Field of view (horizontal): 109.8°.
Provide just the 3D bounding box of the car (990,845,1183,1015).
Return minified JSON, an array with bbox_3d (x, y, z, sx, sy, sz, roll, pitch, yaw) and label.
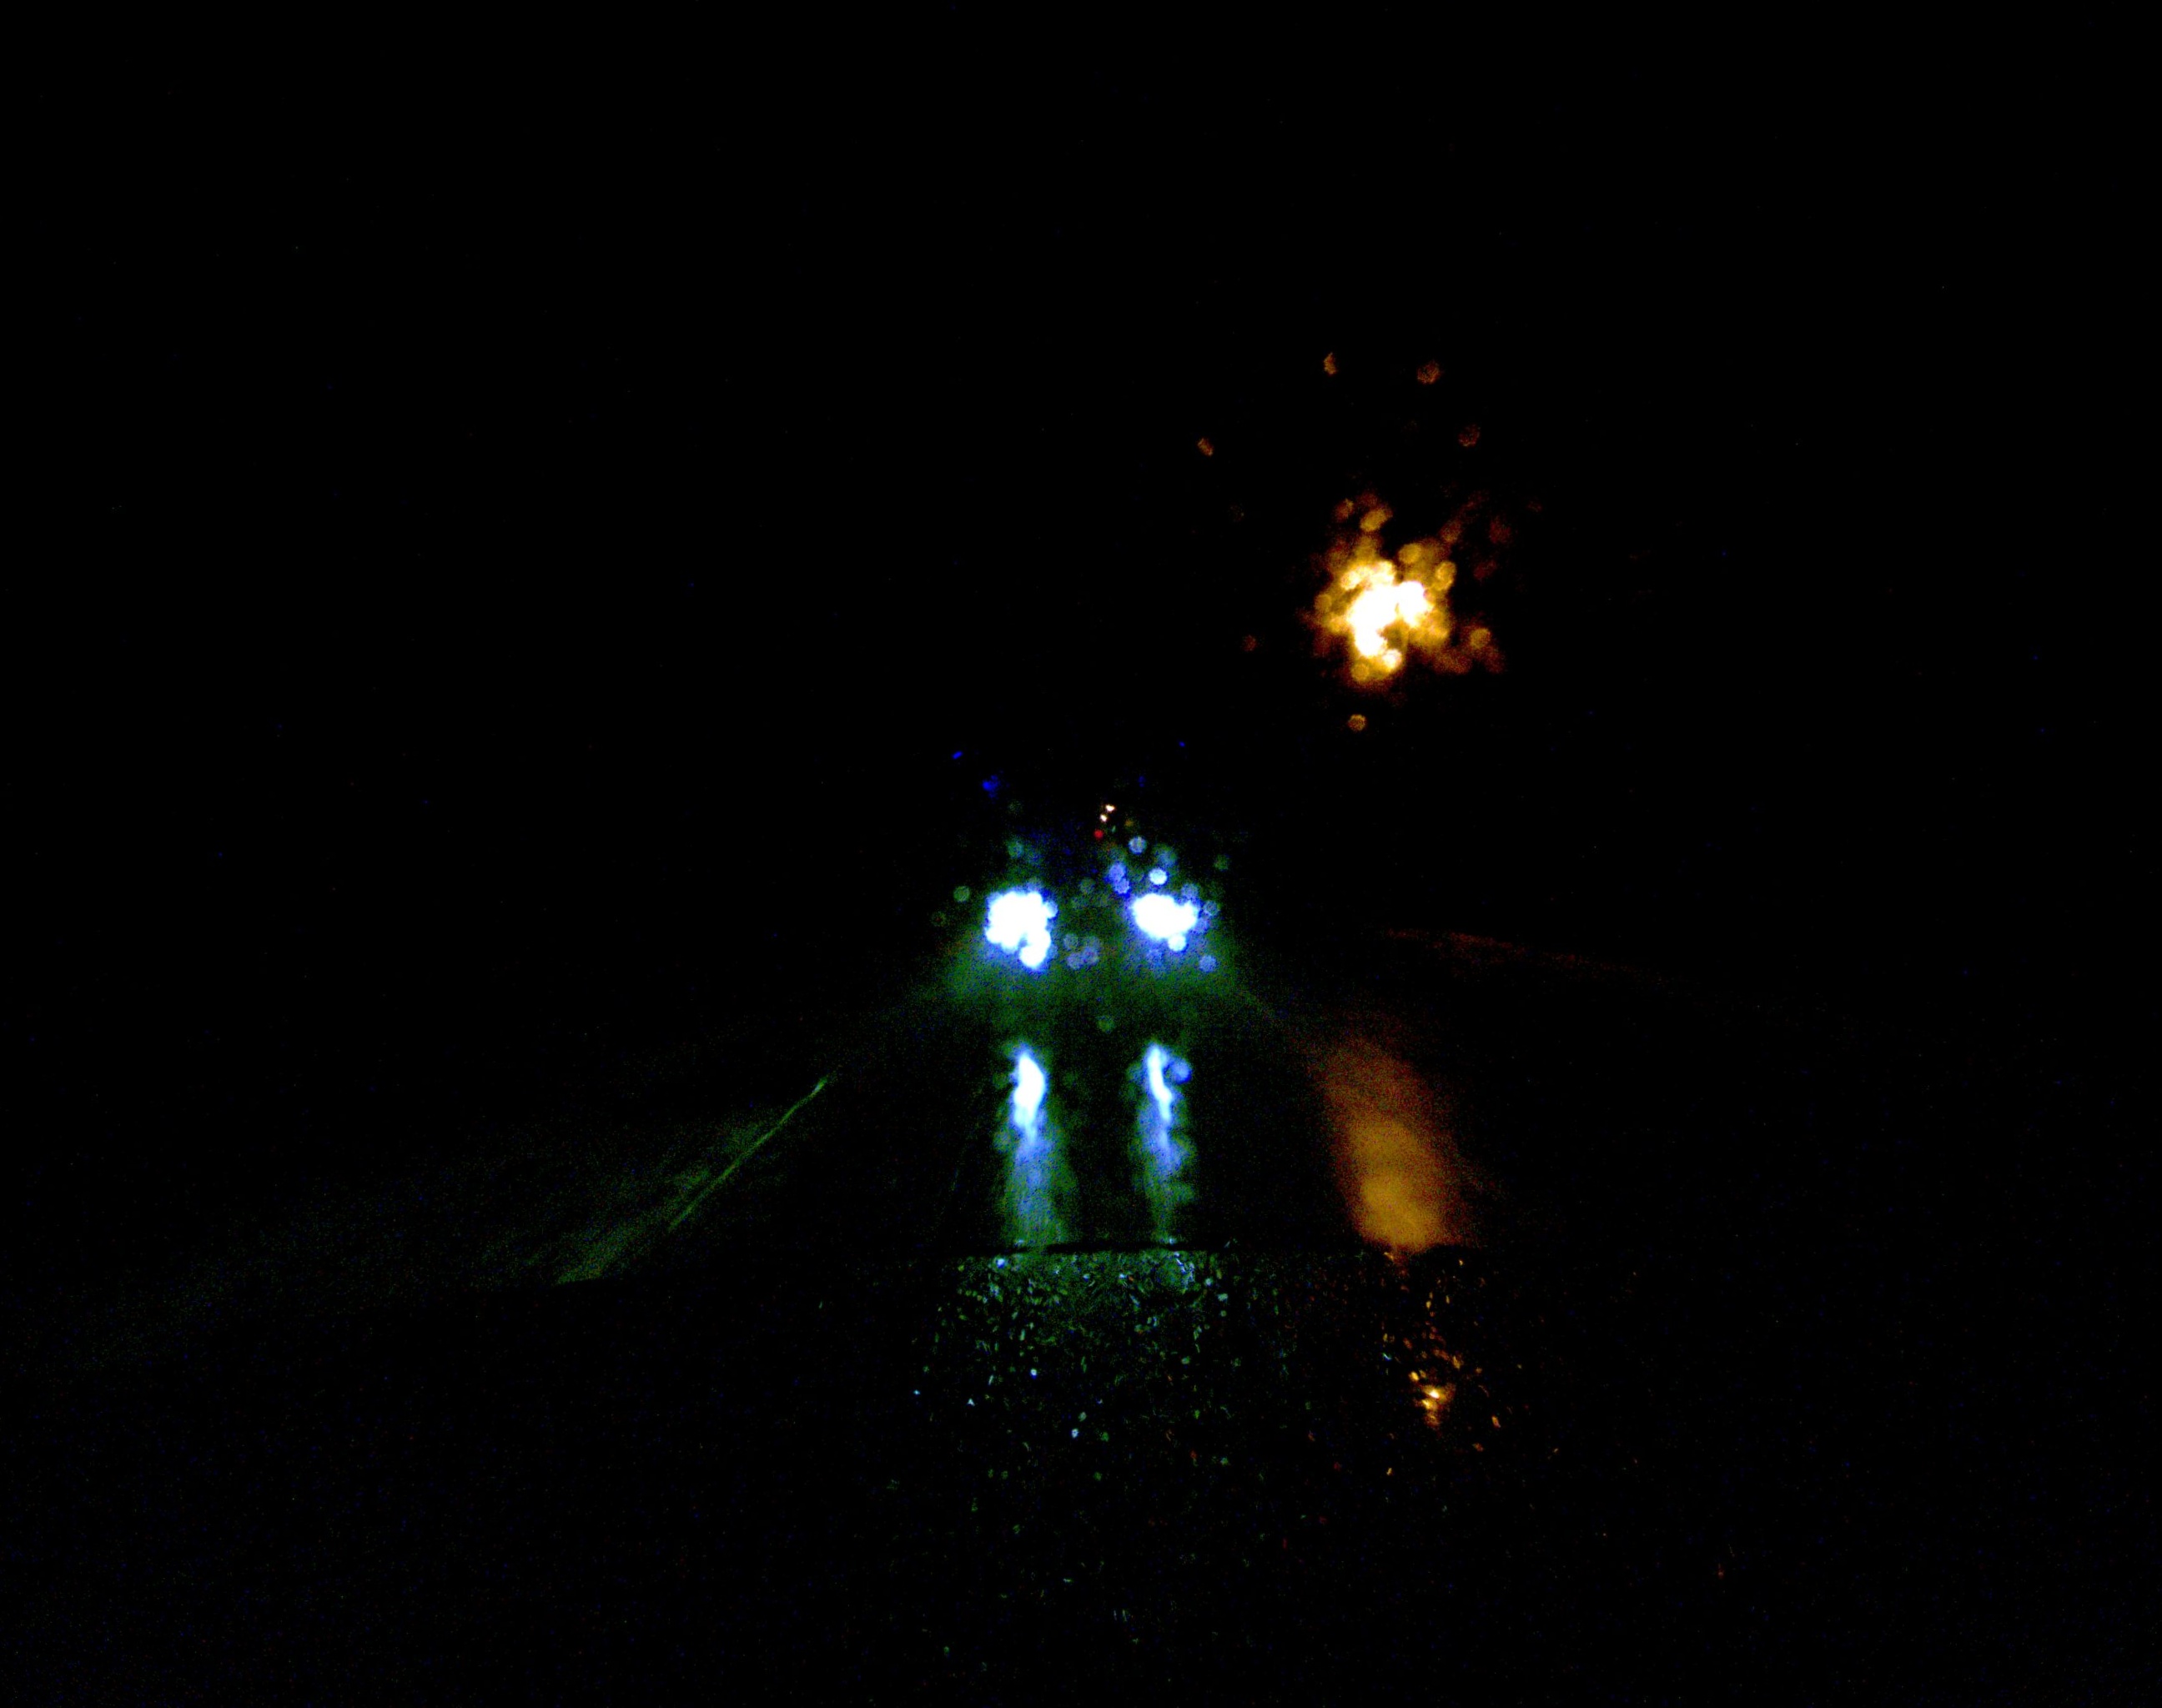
[{"bbox_3d":[0.141,0.745,9.801,1.893,1.678,4.339,-1,1,2],"label":"car"}]
